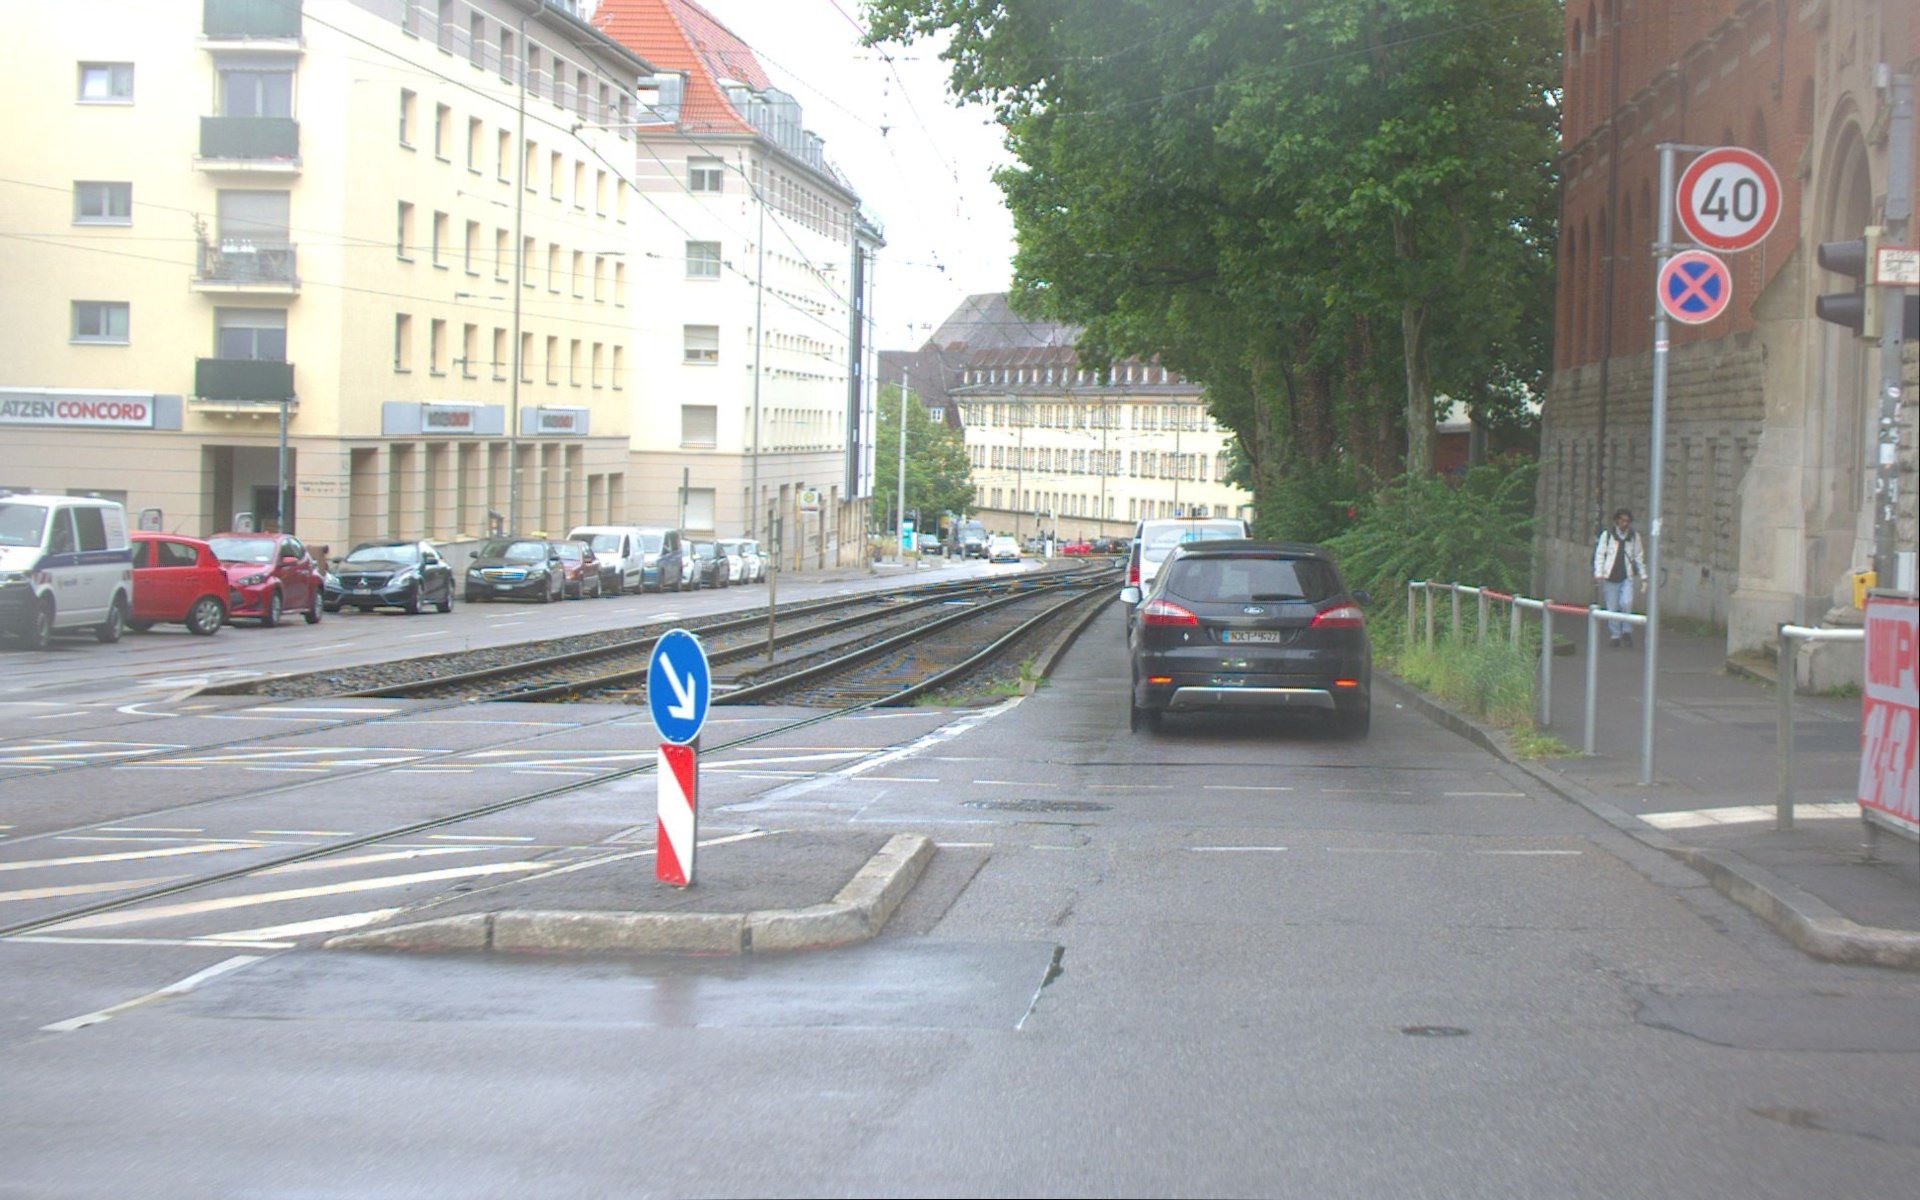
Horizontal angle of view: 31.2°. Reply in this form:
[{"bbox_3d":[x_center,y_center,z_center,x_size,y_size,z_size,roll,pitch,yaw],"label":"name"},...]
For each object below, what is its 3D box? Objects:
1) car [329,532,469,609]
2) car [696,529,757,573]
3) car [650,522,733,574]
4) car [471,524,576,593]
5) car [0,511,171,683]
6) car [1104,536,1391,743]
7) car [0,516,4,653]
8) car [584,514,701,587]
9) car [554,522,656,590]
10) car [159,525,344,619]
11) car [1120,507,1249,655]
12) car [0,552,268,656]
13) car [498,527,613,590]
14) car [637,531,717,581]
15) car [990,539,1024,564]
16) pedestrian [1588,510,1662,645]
[{"bbox_3d":[-10.574,-0.573,65.072,1.680,1.391,4.622,1,1,3],"label":"car"},{"bbox_3d":[-7.703,-1.645,113.856,1.704,1.392,3.936,1,1,0],"label":"car"},{"bbox_3d":[-8.211,-1.604,105.526,1.813,1.494,4.582,2,1,4],"label":"car"},{"bbox_3d":[-9.929,-0.946,78.504,1.851,1.503,4.992,1,1,-1],"label":"car"},{"bbox_3d":[-12.232,-0.106,45.190,2.070,2.002,5.301,4,2,4],"label":"car"},{"bbox_3d":[2.175,0.257,27.121,1.933,1.448,4.317,2,1,1],"label":"car"},{"bbox_3d":[-12.489,-0.173,39.109,1.733,1.645,4.363,1,1,4],"label":"car"},{"bbox_3d":[-8.822,-1.396,96.047,1.994,1.898,5.458,3,1,8],"label":"car"},{"bbox_3d":[-9.275,-1.149,90.160,1.867,1.711,4.459,1,1,5],"label":"car"},{"bbox_3d":[-11.458,-0.466,55.838,1.654,1.446,4.072,1,1,8],"label":"car"},{"bbox_3d":[3.187,-0.287,49.414,1.740,2.007,3.903,1,1,2],"label":"car"},{"bbox_3d":[-12.205,0.048,49.956,1.784,1.429,3.973,2,1,38],"label":"car"},{"bbox_3d":[-9.864,-1.026,84.074,1.851,1.427,4.831,2,1,4],"label":"car"},{"bbox_3d":[-8.277,-1.311,100.967,1.691,1.434,4.049,1,1,5],"label":"car"},{"bbox_3d":[2.813,-2.918,204.435,1.712,1.457,4.280,0,1,5],"label":"car"},{"bbox_3d":[8.386,-0.289,43.380,0.823,1.673,0.859,1,1,7],"label":"pedestrian"}]
